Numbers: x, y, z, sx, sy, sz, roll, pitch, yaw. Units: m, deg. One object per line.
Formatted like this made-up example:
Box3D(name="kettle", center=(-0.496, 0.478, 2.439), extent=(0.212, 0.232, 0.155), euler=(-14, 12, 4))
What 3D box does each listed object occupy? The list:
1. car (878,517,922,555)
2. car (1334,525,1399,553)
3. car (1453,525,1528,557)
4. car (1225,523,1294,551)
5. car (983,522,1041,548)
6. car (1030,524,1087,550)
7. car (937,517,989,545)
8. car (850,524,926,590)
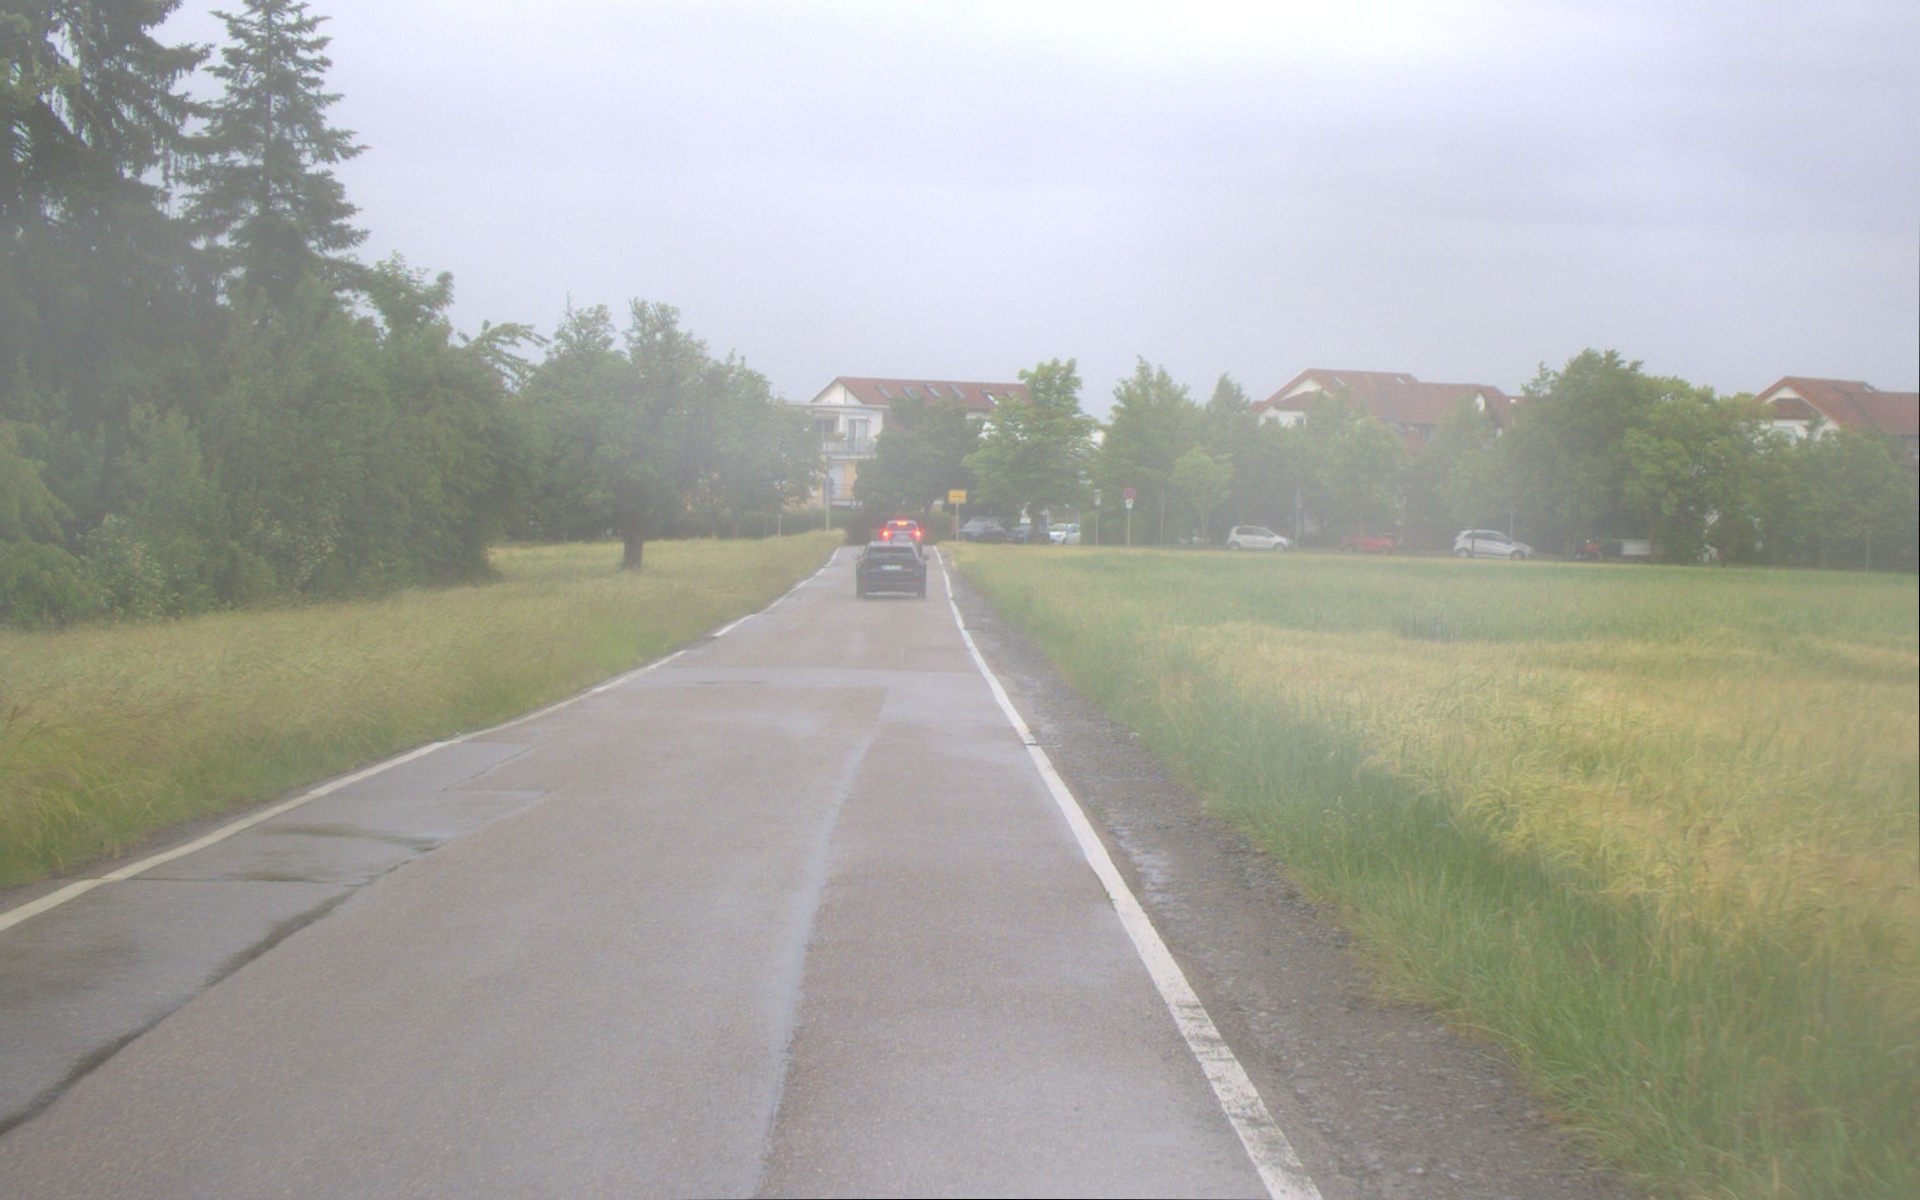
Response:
Box3D(name="car", center=(-2.627, -2.818, 152.024), extent=(1.814, 1.588, 4.000), euler=(1, 0, 0))
Box3D(name="car", center=(21.249, -3.185, 179.545), extent=(3.194, 1.366, 1.571), euler=(1, 0, 13))
Box3D(name="car", center=(27.471, -3.063, 177.938), extent=(3.711, 1.558, 1.609), euler=(1, 0, 13))
Box3D(name="car", center=(15.751, -3.295, 180.778), extent=(3.392, 1.366, 1.547), euler=(1, 0, 13))
Box3D(name="car", center=(3.270, -4.047, 214.778), extent=(1.664, 1.541, 3.992), euler=(1, 0, 35))
Box3D(name="car", center=(6.283, -3.988, 219.035), extent=(1.664, 1.541, 3.992), euler=(1, 0, 35))
Box3D(name="car", center=(0.187, -4.191, 208.867), extent=(1.663, 1.541, 3.995), euler=(1, 0, 24))
Box3D(name="car", center=(-1.815, -1.082, 87.663), extent=(1.814, 1.588, 4.000), euler=(1, 0, 0))
